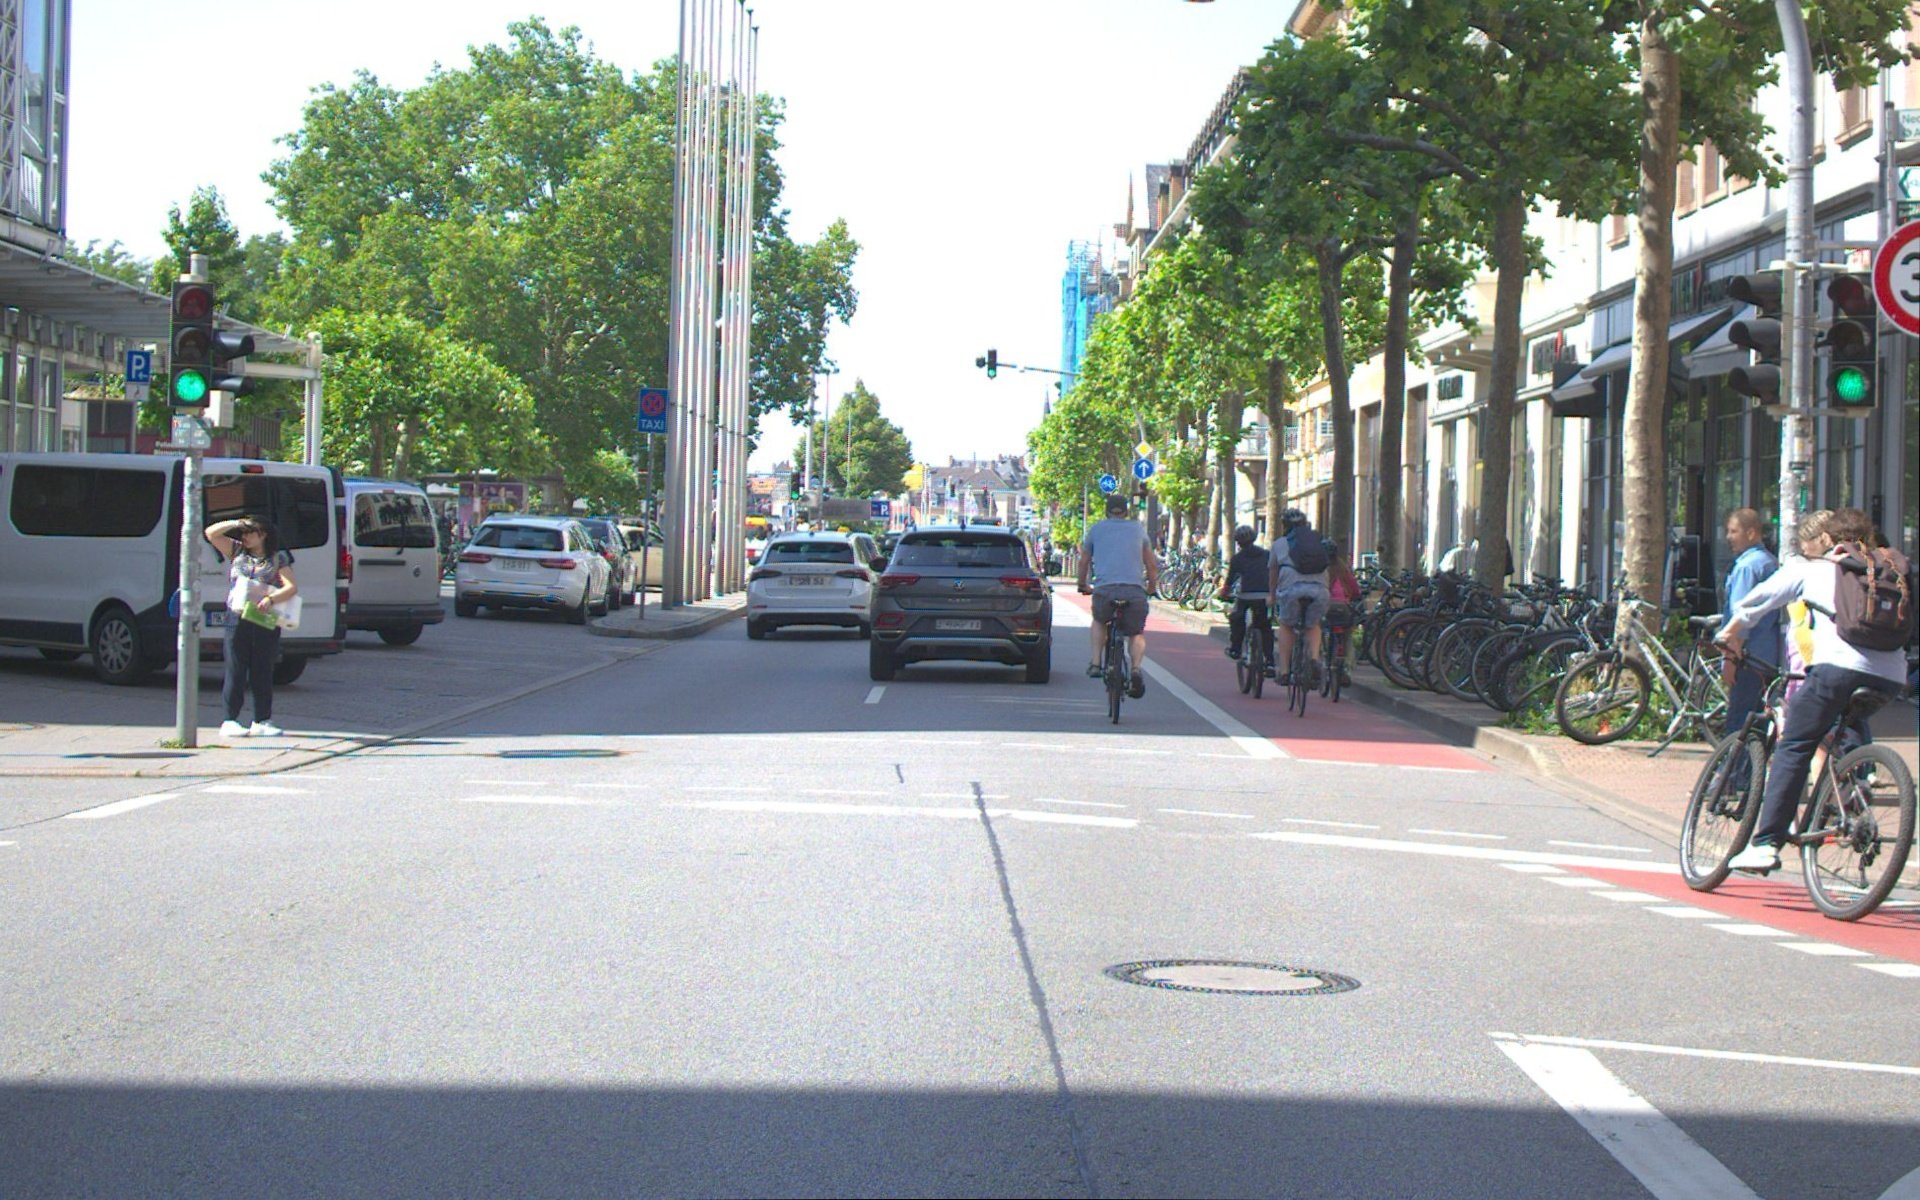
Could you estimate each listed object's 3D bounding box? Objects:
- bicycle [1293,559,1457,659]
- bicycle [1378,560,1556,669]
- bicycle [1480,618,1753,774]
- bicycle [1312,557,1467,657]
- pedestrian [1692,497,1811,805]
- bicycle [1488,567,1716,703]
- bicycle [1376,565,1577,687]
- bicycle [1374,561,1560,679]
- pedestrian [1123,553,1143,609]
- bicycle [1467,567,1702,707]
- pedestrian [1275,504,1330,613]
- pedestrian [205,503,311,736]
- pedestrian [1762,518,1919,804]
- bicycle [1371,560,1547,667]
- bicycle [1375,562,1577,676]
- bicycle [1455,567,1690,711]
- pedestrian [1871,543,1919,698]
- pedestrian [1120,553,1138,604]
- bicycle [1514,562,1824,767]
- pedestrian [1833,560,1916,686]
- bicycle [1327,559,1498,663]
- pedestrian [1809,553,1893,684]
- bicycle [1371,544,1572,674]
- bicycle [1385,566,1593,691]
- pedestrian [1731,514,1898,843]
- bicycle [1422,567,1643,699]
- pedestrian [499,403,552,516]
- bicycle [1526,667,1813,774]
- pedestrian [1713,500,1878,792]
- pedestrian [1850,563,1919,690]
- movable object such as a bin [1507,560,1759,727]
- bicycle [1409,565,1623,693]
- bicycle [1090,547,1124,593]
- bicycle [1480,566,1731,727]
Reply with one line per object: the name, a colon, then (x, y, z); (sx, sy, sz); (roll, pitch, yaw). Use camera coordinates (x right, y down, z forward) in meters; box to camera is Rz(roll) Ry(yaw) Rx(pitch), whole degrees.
bicycle: (4.955, 0.102, 41.117); (1.840, 1.089, 0.564); (3, 1, 1)
bicycle: (5.442, 0.155, 36.968); (1.840, 1.123, 0.448); (1, 0, 3)
bicycle: (4.955, 0.729, 26.034); (1.851, 0.395, 1.019); (9, -34, 4)
bicycle: (4.976, 0.087, 39.762); (1.840, 1.123, 0.594); (1, 0, -35)
pedestrian: (4.710, 0.293, 20.479); (0.452, 1.789, 0.608); (3, 1, -2)
bicycle: (5.567, 0.300, 29.873); (1.840, 1.123, 0.666); (1, 0, 2)
bicycle: (4.952, 0.248, 33.038); (1.840, 1.123, 0.530); (1, 0, 2)
bicycle: (5.339, 0.205, 36.168); (1.841, 1.123, 0.530); (3, 0, 13)
pedestrian: (5.085, -0.566, 101.067); (0.549, 1.625, 0.589); (0, 0, 3)
bicycle: (5.239, 0.307, 28.906); (1.840, 1.123, 0.666); (1, 0, 2)
pedestrian: (5.451, -0.670, 54.808); (0.639, 1.683, 0.843); (4, 2, -2)
pedestrian: (-4.852, 0.127, 23.770); (0.639, 1.554, 0.681); (3, 2, -11)
pedestrian: (5.415, 0.359, 20.985); (0.787, 1.684, 0.641); (2, 1, -2)
bicycle: (5.425, 0.146, 37.427); (1.840, 1.123, 0.448); (1, 0, 3)
bicycle: (5.324, 0.194, 35.455); (1.987, 1.123, 0.761); (1, 0, 13)
bicycle: (4.993, 0.313, 28.132); (1.840, 1.123, 0.666); (1, 0, 8)
pedestrian: (9.202, 0.197, 31.942); (1.233, 1.417, 0.790); (1, 0, -2)
pedestrian: (5.081, -0.652, 103.289); (0.523, 1.516, 0.641); (0, 0, 3)
bicycle: (4.789, 0.412, 23.297); (1.855, 1.184, 0.715); (7, 5, 38)
pedestrian: (9.233, 0.226, 34.722); (0.681, 1.249, 0.532); (0, 1, -2)
bicycle: (5.091, 0.121, 38.731); (1.843, 1.123, 0.447); (1, 0, 28)
pedestrian: (9.288, 0.187, 35.862); (0.681, 1.328, 0.532); (2, 1, -2)
bicycle: (5.054, 0.085, 34.029); (1.840, 1.123, 0.679); (5, 2, 5)
bicycle: (4.965, 0.259, 32.344); (1.840, 1.123, 0.666); (1, 0, 2)
pedestrian: (4.514, 0.411, 18.200); (0.639, 1.703, 0.790); (0, -1, -3)
bicycle: (5.067, 0.285, 30.484); (1.840, 1.123, 0.643); (1, 0, 2)
pedestrian: (-7.022, -2.268, 55.560); (0.532, 1.786, 0.538); (3, 0, 40)
bicycle: (5.182, 0.891, 25.233); (1.136, 0.432, 1.856); (-10, -3, -25)
pedestrian: (5.274, 0.276, 21.729); (0.787, 1.789, 0.641); (2, 1, -2)
pedestrian: (9.245, 0.259, 34.124); (0.639, 1.249, 0.609); (0, 0, -2)
movable object such as a bin: (5.339, 0.332, 27.265); (1.852, 1.184, 0.652); (4, 1, 16)
bicycle: (5.089, 0.258, 31.530); (1.840, 1.123, 0.666); (1, 0, 2)
bicycle: (3.255, -0.673, 76.243); (0.647, 0.994, 2.031); (1, 1, 0)
bicycle: (5.035, 0.356, 26.827); (1.841, 1.123, 0.345); (4, 2, 16)
